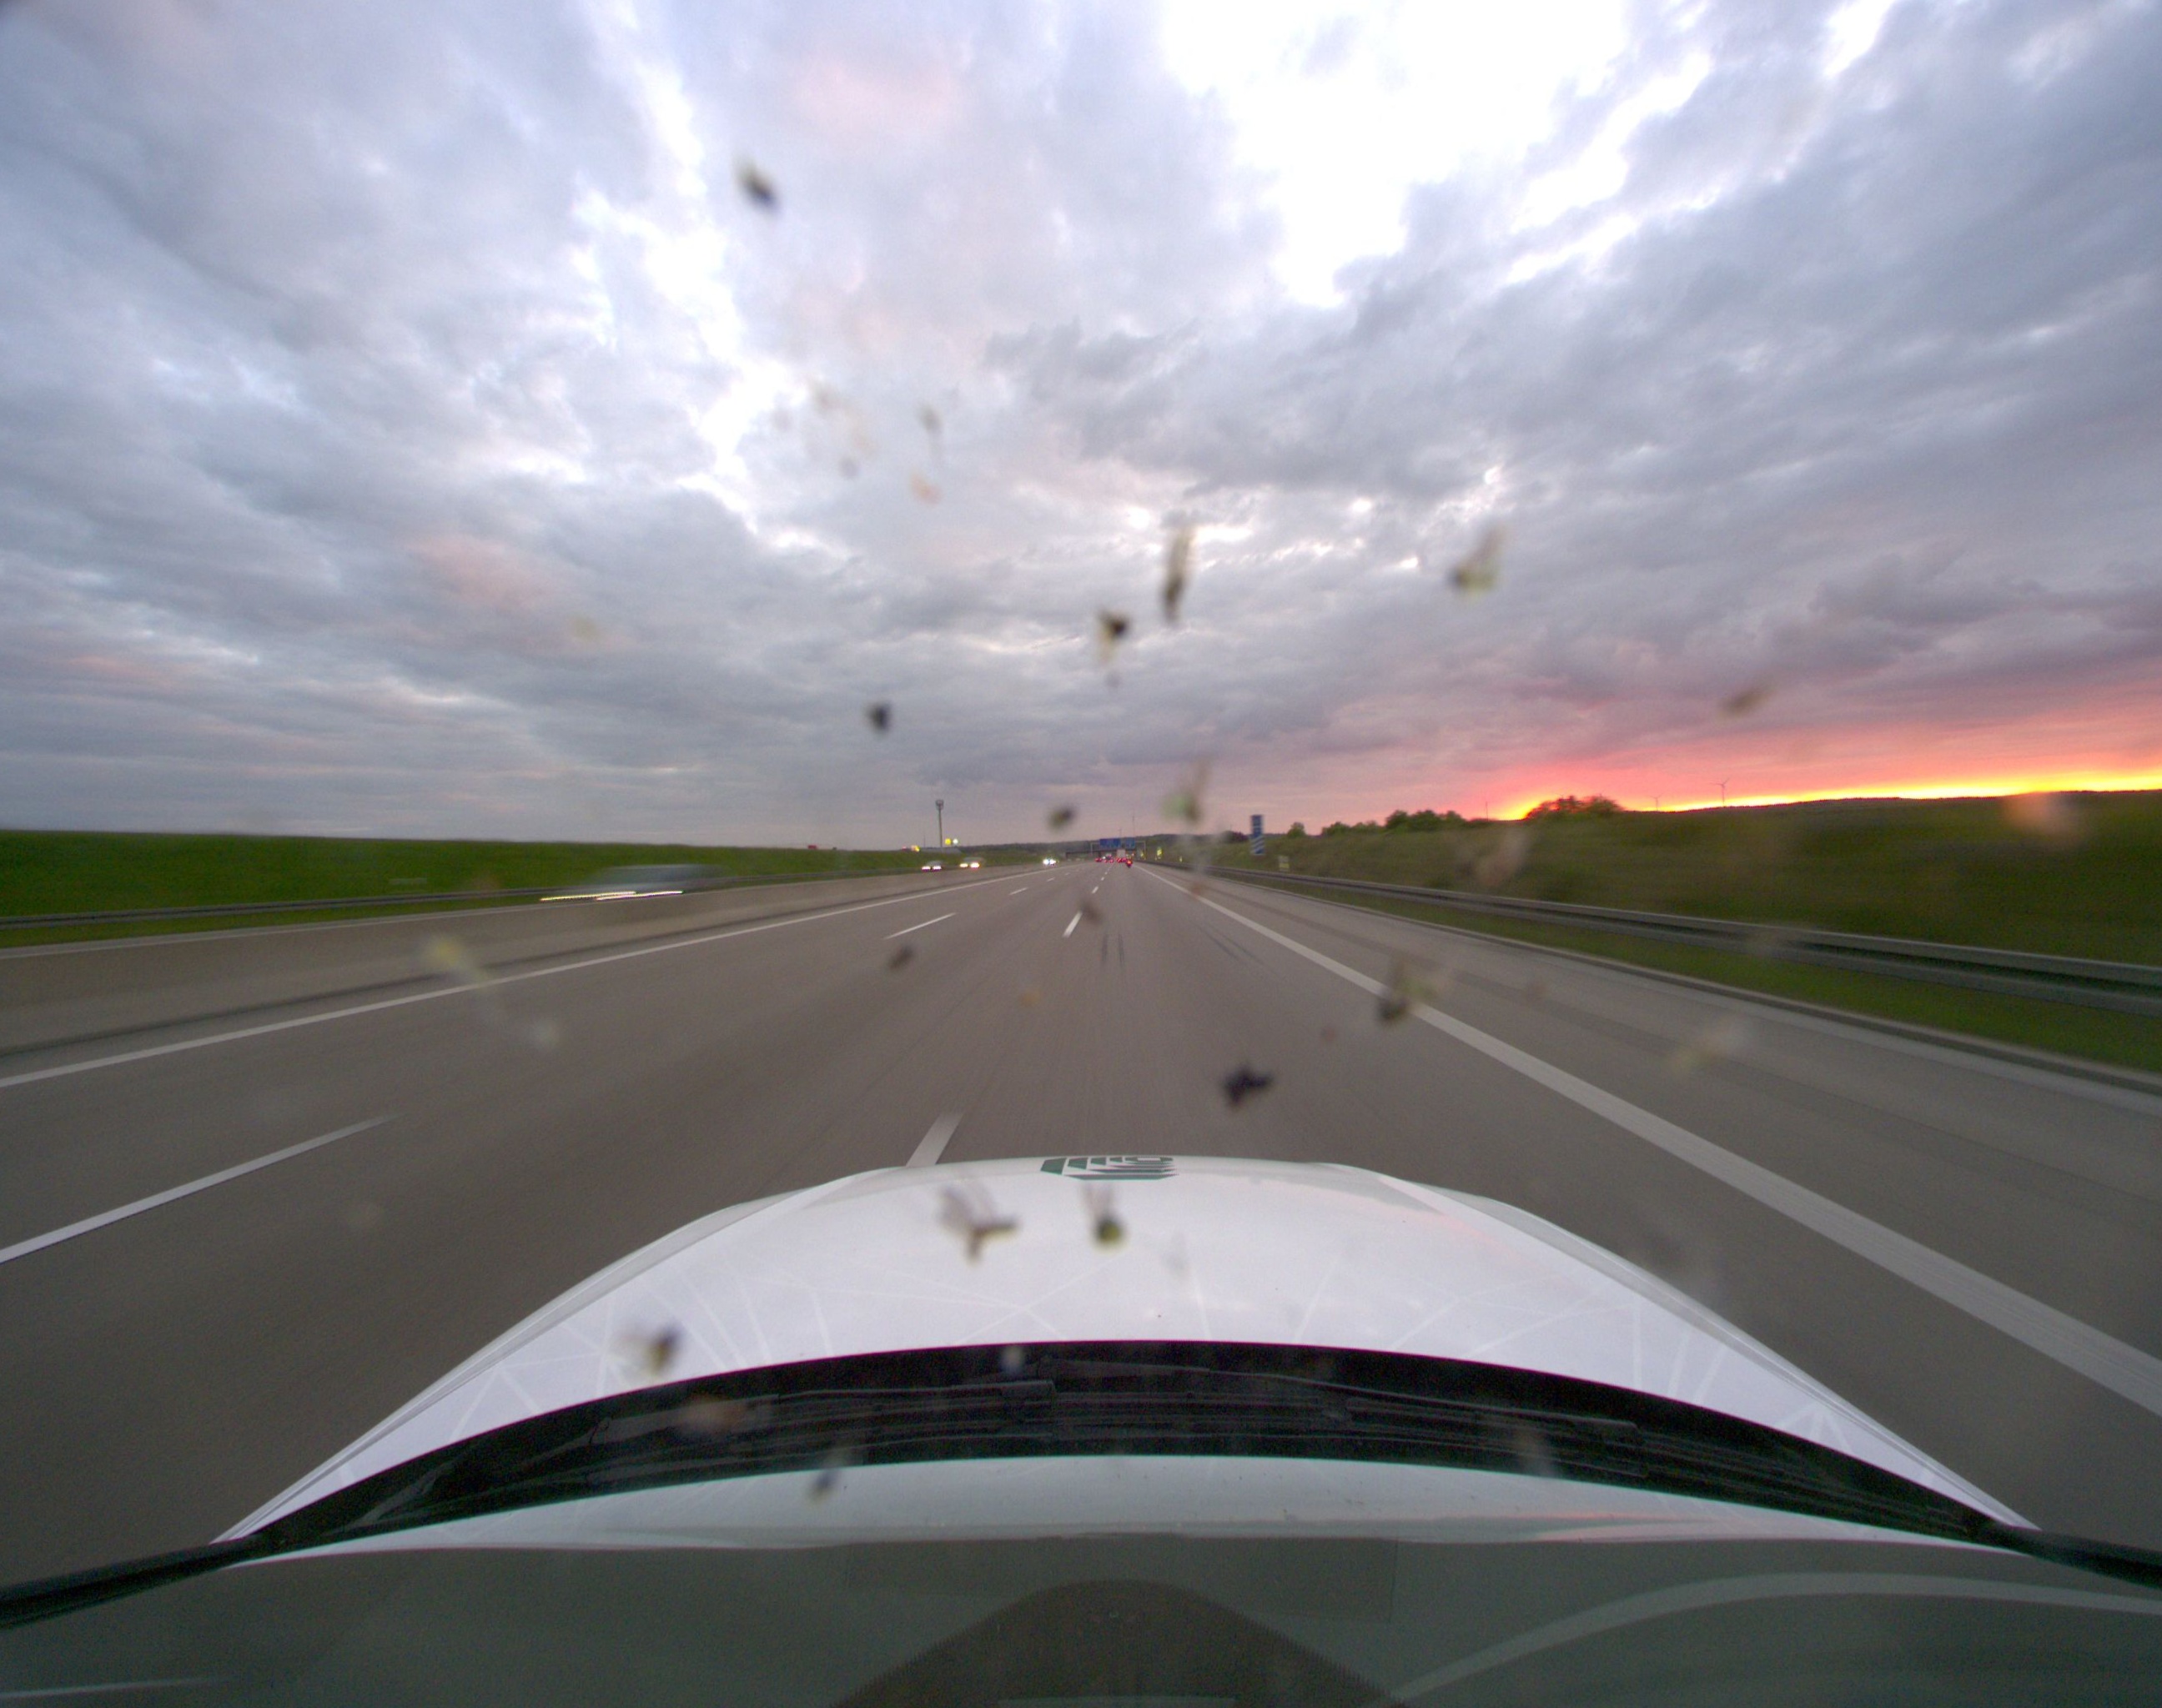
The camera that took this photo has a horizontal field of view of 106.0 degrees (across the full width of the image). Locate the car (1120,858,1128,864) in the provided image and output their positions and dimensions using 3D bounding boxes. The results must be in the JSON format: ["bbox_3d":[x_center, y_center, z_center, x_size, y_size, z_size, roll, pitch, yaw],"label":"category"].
[{"bbox_3d":[11.585,2.009,220.780,1.911,1.579,4.001,-2,0,2],"label":"car"}]

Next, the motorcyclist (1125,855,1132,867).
[{"bbox_3d":[5.891,0.864,101.134,0.862,1.487,1.169,0,0,4],"label":"motorcyclist"}]

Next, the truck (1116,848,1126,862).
[{"bbox_3d":[13.106,0.348,264.394,3.220,4.228,9.605,0,0,3],"label":"truck"}]

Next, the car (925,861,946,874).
[{"bbox_3d":[-17.545,1.578,98.594,1.624,1.517,4.428,-1,0,2],"label":"car"}]

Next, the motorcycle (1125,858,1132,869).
[{"bbox_3d":[5.904,1.154,101.239,0.898,1.346,2.350,-1,0,3],"label":"motorcycle"}]

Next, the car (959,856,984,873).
[{"bbox_3d":[-13.411,1.248,100.201,1.995,2.013,5.739,-2,0,2],"label":"car"}]

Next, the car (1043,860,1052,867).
[{"bbox_3d":[-8.979,2.458,219.830,2.092,1.810,5.021,-2,0,1],"label":"car"}]

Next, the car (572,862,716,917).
[{"bbox_3d":[-13.423,1.029,25.393,1.804,1.435,4.673,-2,0,2],"label":"car"}]
